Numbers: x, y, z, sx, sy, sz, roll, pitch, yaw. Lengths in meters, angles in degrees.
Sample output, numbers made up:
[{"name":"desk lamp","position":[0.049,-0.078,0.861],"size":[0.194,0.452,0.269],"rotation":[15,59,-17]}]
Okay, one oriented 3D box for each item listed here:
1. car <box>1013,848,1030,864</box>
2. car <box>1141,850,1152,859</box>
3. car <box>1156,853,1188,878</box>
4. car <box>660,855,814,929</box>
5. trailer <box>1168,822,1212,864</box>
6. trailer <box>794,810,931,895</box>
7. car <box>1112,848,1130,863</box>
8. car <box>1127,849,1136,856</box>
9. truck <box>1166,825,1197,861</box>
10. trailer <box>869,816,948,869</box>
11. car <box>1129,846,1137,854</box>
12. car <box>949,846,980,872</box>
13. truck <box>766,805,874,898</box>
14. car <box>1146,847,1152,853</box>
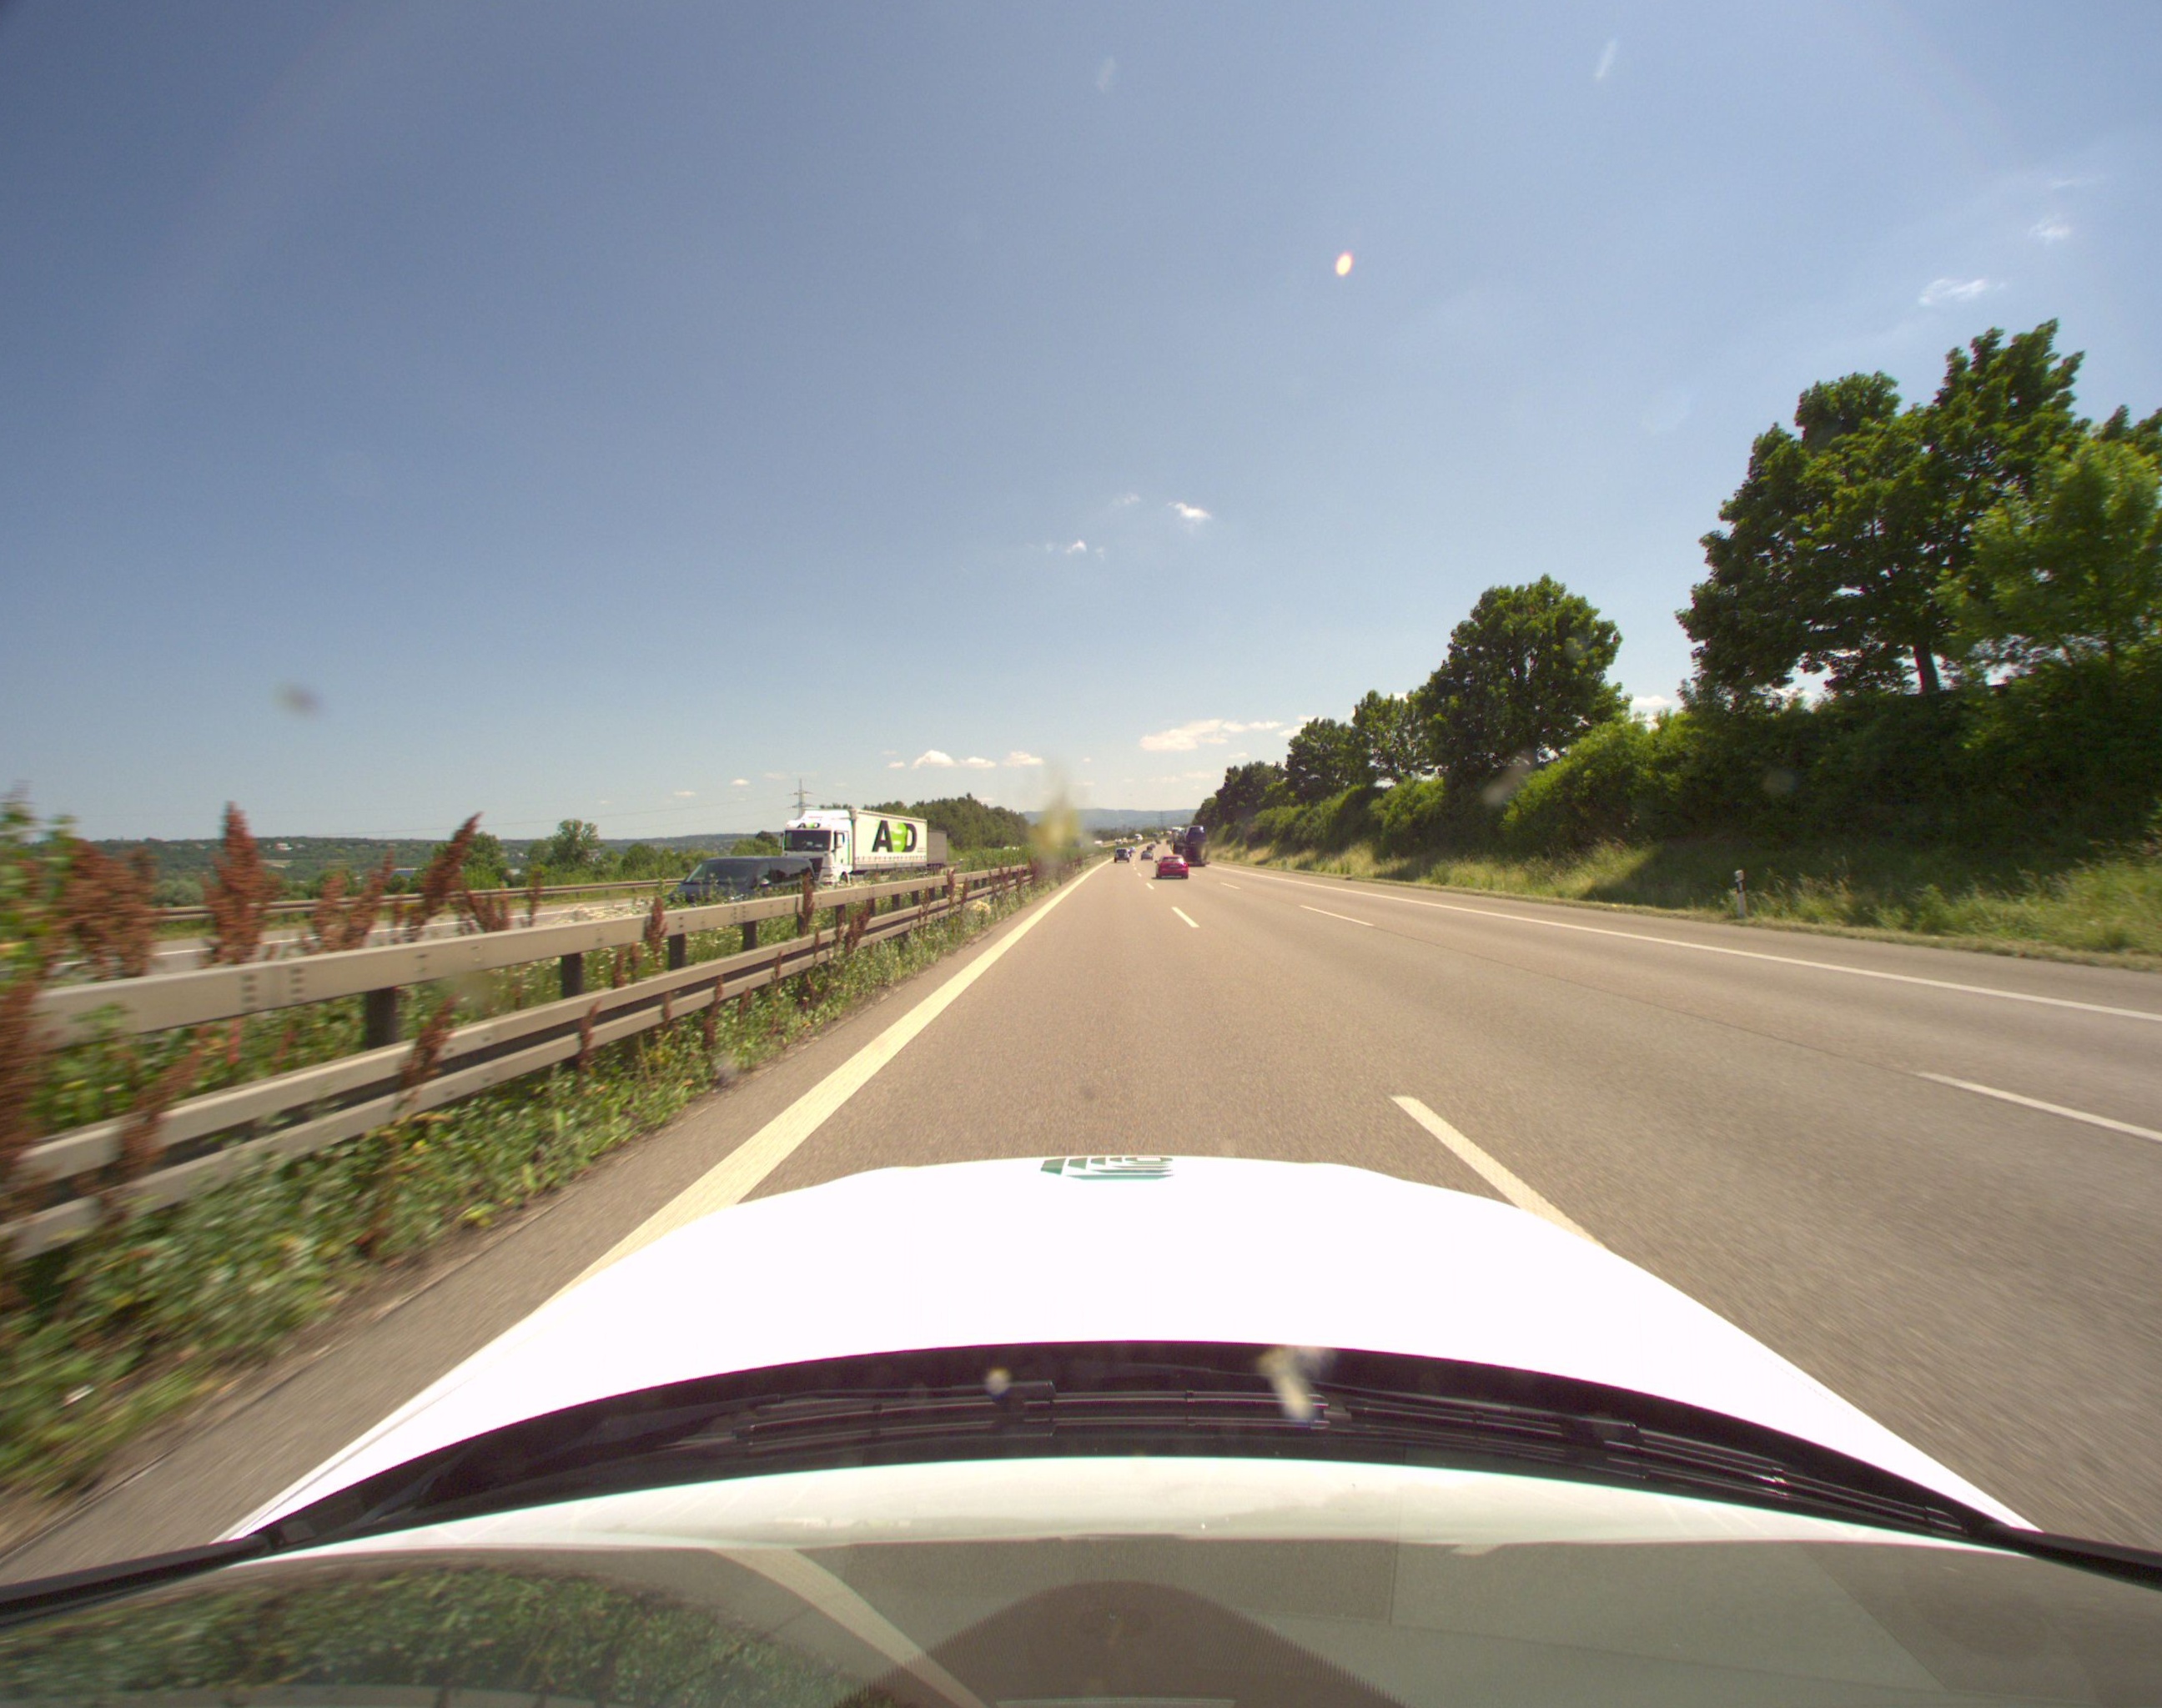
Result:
[{"name":"car","position":[-7.274,0.241,99.905],"size":[1.622,1.828,3.773],"rotation":[-1,0,4]},{"name":"car","position":[9.711,0.106,121.019],"size":[1.446,1.267,3.541],"rotation":[-1,1,2]},{"name":"car","position":[5.372,0.650,48.407],"size":[1.679,1.379,3.951],"rotation":[-1,1,3]},{"name":"car","position":[-8.432,0.858,20.439],"size":[1.908,1.588,4.225],"rotation":[-1,1,2]},{"name":"trailer","position":[11.278,-1.161,85.860],"size":[2.845,3.993,15.398],"rotation":[-1,1,1]},{"name":"trailer","position":[-11.845,-0.155,46.400],"size":[3.179,4.076,14.056],"rotation":[-1,1,3]},{"name":"car","position":[5.160,0.180,105.824],"size":[2.077,1.829,4.751],"rotation":[-1,1,-1]},{"name":"car","position":[9.384,-0.329,150.834],"size":[1.448,1.267,3.343],"rotation":[-1,1,5]},{"name":"truck","position":[11.401,-1.252,92.821],"size":[2.745,3.852,6.644],"rotation":[-1,0,0]},{"name":"trailer","position":[-14.449,-0.989,69.996],"size":[2.956,4.076,14.056],"rotation":[-1,1,3]},{"name":"car","position":[12.565,-0.923,198.286],"size":[1.688,2.013,3.830],"rotation":[-1,0,7]},{"name":"car","position":[-9.274,0.386,65.093],"size":[1.832,2.013,4.002],"rotation":[-1,0,2]},{"name":"truck","position":[-12.317,-0.123,38.892],"size":[3.162,4.109,5.231],"rotation":[-1,0,3]},{"name":"car","position":[18.653,-1.086,223.390],"size":[1.626,1.704,3.408],"rotation":[-1,0,7]}]
